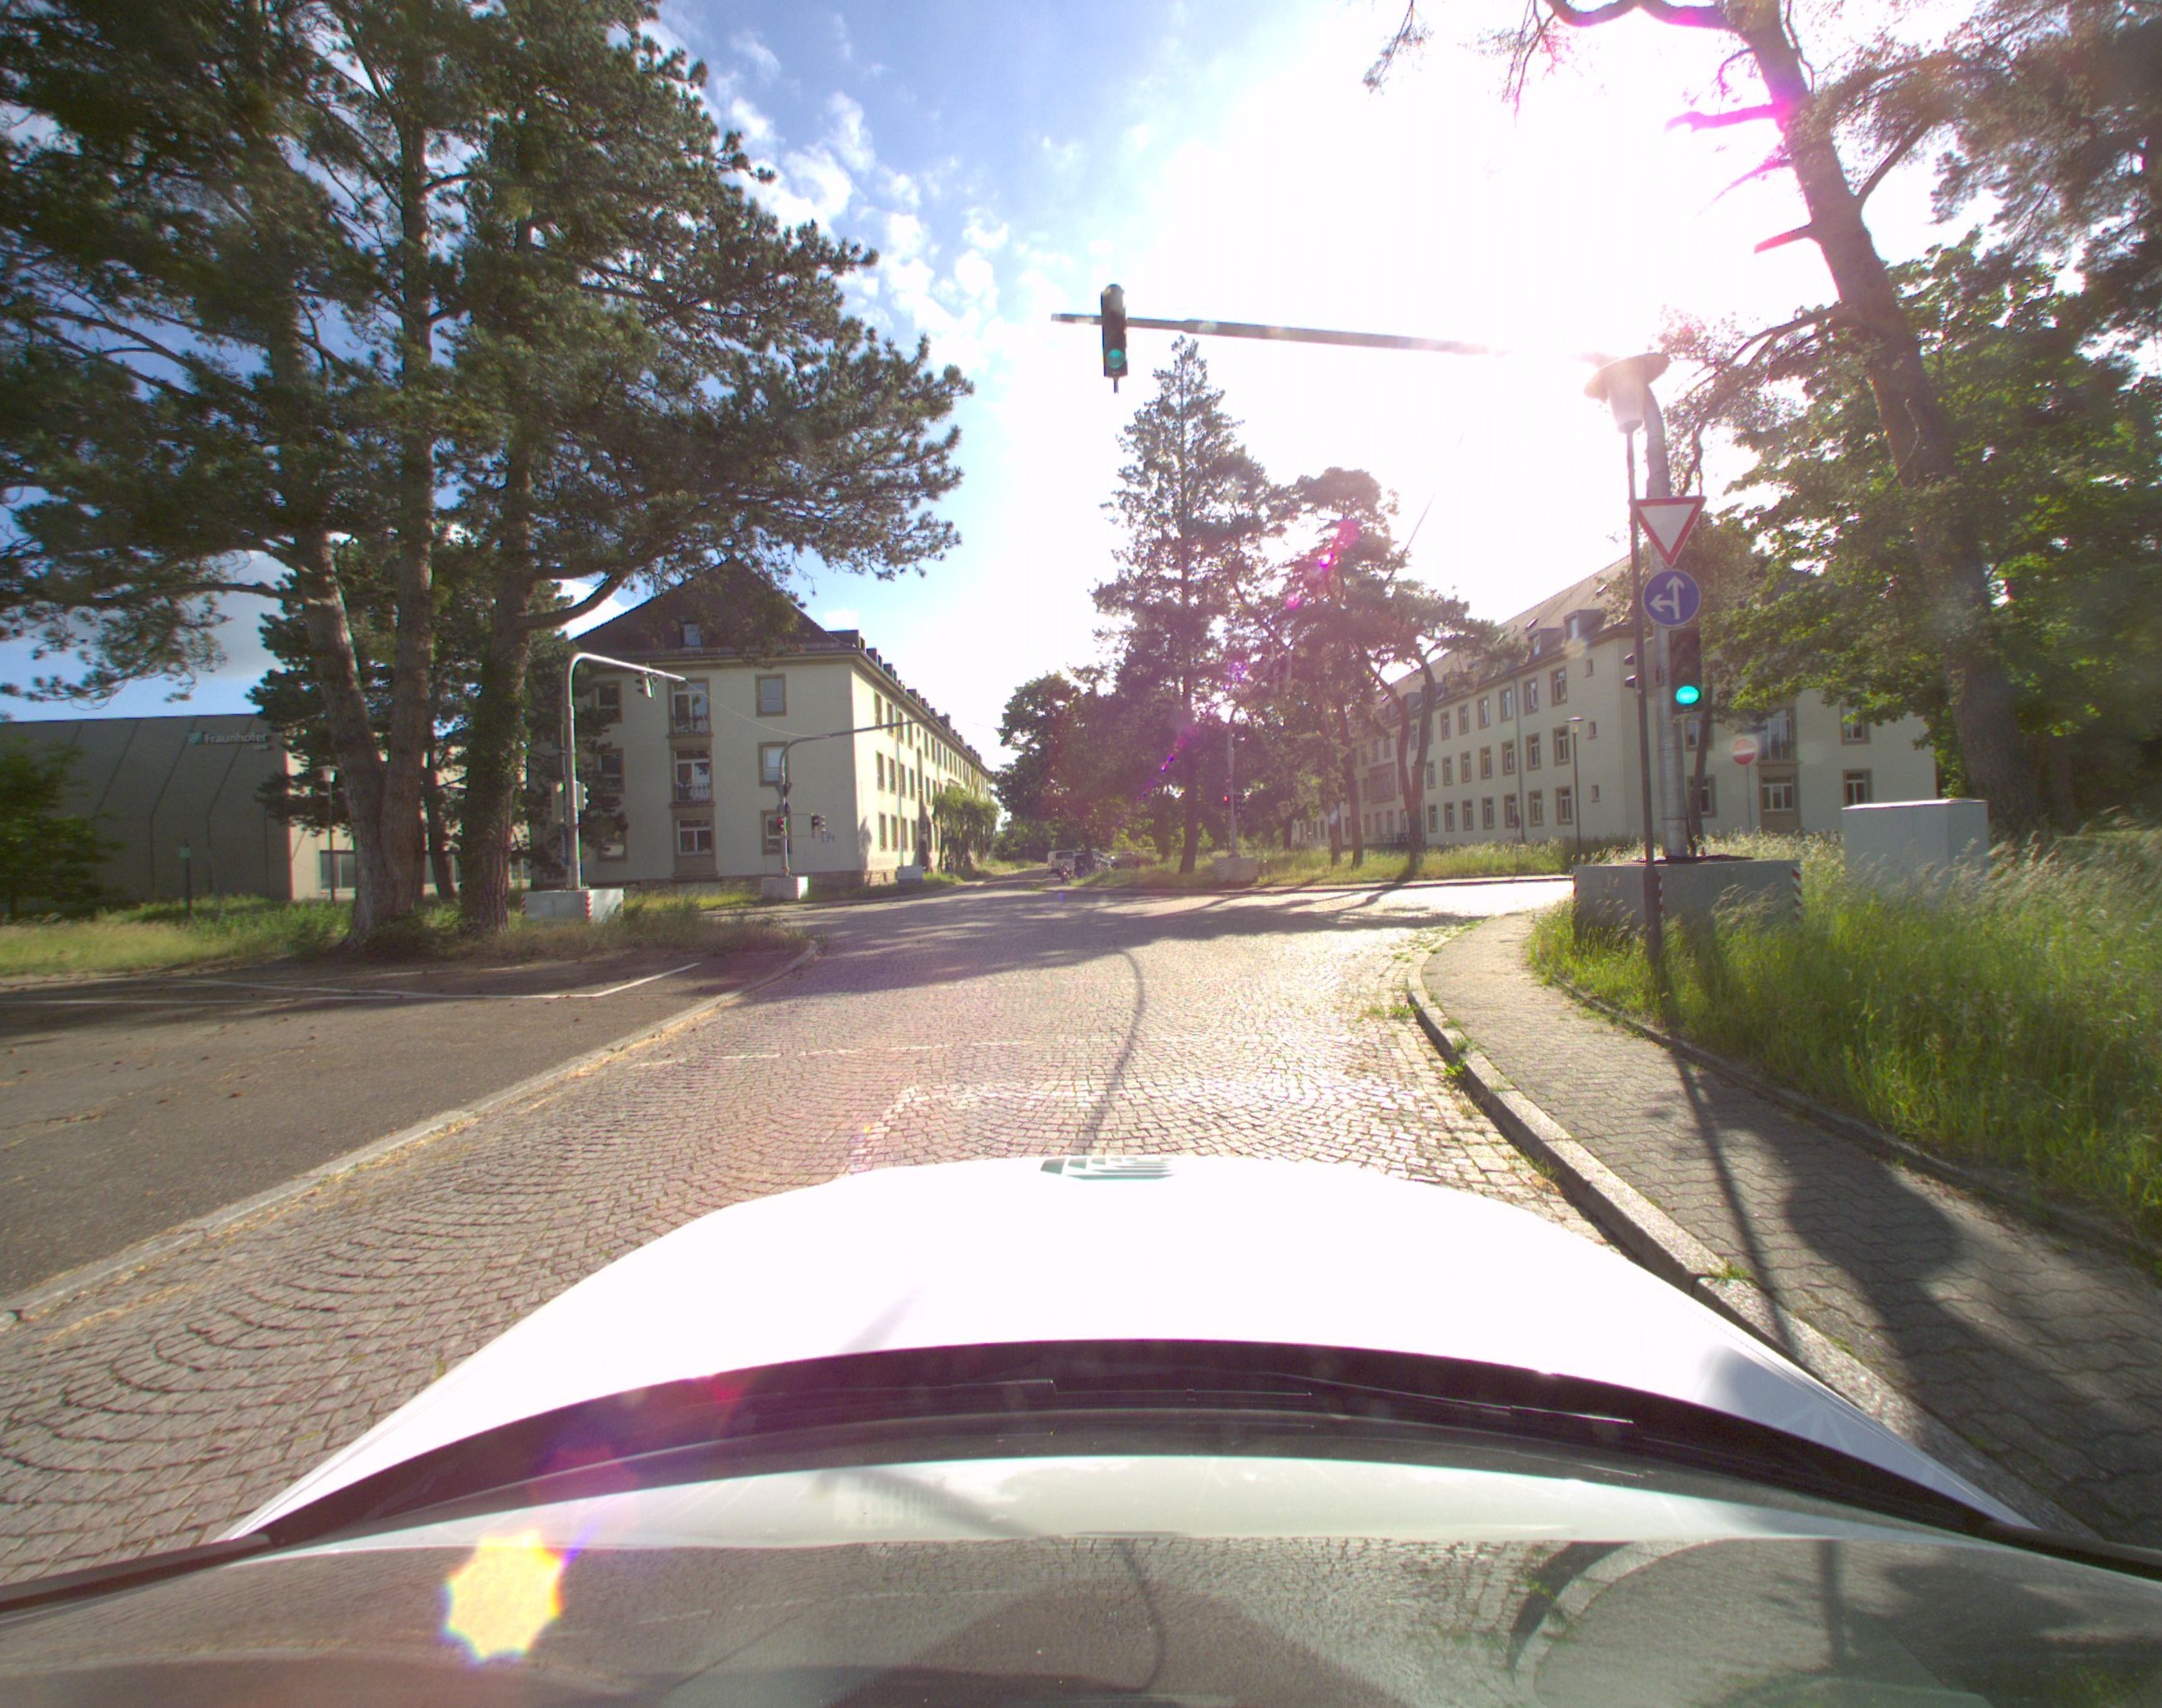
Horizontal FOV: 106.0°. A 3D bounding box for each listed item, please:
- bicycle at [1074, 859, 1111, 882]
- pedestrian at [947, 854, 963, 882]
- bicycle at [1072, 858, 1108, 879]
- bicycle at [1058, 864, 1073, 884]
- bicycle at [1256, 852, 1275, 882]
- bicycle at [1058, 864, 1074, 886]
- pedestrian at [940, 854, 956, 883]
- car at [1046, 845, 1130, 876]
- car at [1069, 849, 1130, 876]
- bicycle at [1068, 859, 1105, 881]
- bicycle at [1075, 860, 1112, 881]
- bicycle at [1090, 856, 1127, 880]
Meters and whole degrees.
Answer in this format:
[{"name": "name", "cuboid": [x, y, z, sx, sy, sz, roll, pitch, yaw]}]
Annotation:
[{"name": "bicycle", "cuboid": [0.604, 0.892, 43.763, 1.937, 1.129, 0.749, -2, 0, -4]}, {"name": "pedestrian", "cuboid": [-8.203, 0.918, 53.037, 0.762, 1.817, 0.684, -2, 0, 10]}, {"name": "bicycle", "cuboid": [0.498, 0.810, 46.072, 1.938, 1.129, 0.646, -2, 0, -6]}, {"name": "bicycle", "cuboid": [-0.813, 0.998, 41.405, 0.694, 0.971, 1.859, -2, 0, -2]}, {"name": "bicycle", "cuboid": [7.015, 0.490, 30.934, 0.464, 1.080, 1.174, -2, -1, 3]}, {"name": "bicycle", "cuboid": [-0.745, 1.004, 39.470, 0.694, 0.971, 1.859, -2, 0, -2]}, {"name": "pedestrian", "cuboid": [-8.546, 0.932, 52.335, 0.806, 1.817, 0.556, -2, 0, 10]}, {"name": "car", "cuboid": [0.477, 0.502, 60.914, 5.926, 2.013, 2.469, -2, 0, -8]}, {"name": "car", "cuboid": [1.256, 0.578, 56.715, 3.985, 1.684, 1.842, -2, 0, -9]}, {"name": "bicycle", "cuboid": [0.299, 0.860, 44.976, 1.952, 1.129, 0.642, -2, 0, -28]}, {"name": "bicycle", "cuboid": [0.640, 0.846, 42.969, 1.851, 1.031, 0.749, -2, 0, -4]}, {"name": "bicycle", "cuboid": [1.503, 0.745, 44.479, 1.937, 1.235, 0.484, -2, 0, -4]}]
